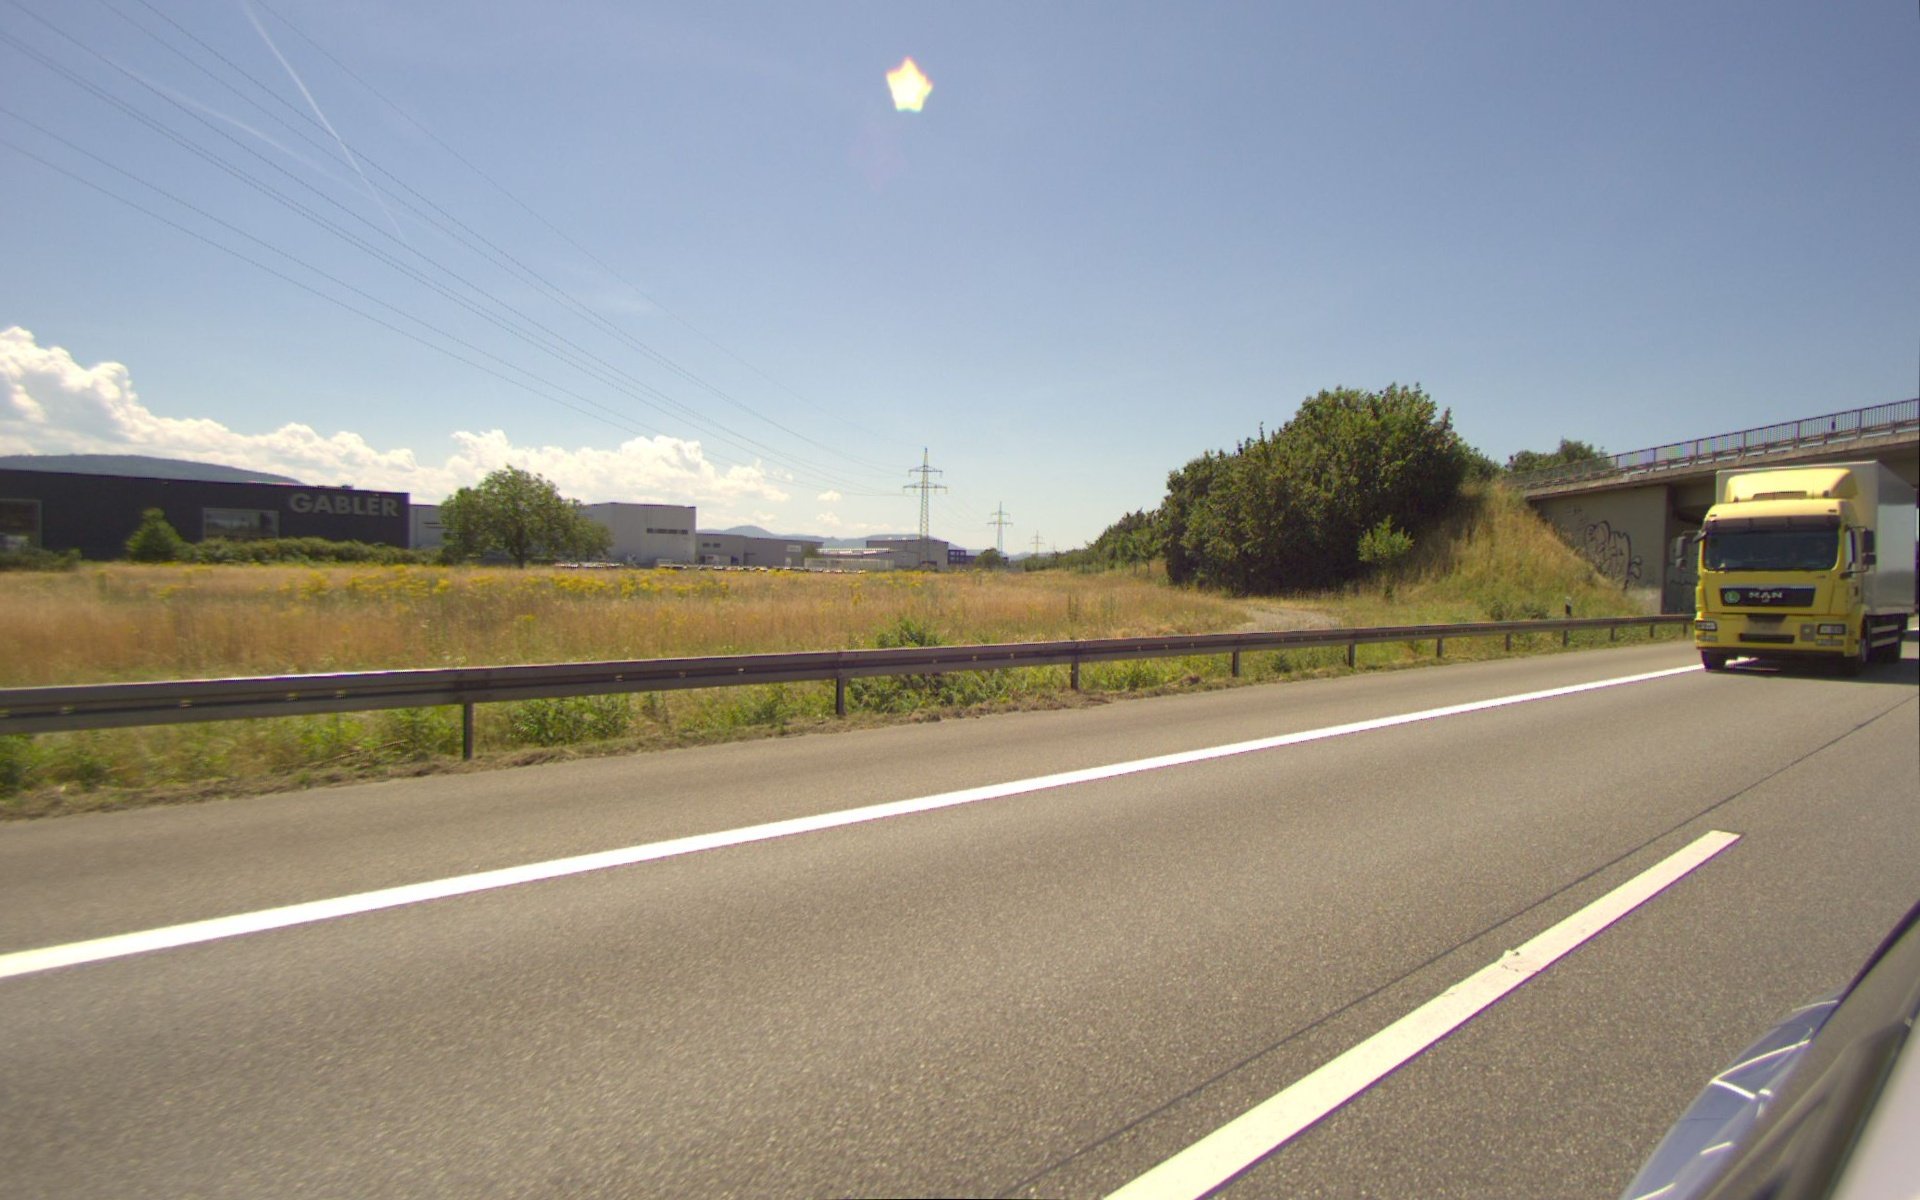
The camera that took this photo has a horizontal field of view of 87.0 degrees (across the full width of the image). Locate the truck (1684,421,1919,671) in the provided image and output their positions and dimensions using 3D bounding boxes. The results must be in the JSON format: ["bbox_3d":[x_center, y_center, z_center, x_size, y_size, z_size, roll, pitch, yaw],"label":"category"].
[{"bbox_3d":[18.814,-0.947,21.801,10.496,4.253,2.938,0,0,-41],"label":"truck"}]
